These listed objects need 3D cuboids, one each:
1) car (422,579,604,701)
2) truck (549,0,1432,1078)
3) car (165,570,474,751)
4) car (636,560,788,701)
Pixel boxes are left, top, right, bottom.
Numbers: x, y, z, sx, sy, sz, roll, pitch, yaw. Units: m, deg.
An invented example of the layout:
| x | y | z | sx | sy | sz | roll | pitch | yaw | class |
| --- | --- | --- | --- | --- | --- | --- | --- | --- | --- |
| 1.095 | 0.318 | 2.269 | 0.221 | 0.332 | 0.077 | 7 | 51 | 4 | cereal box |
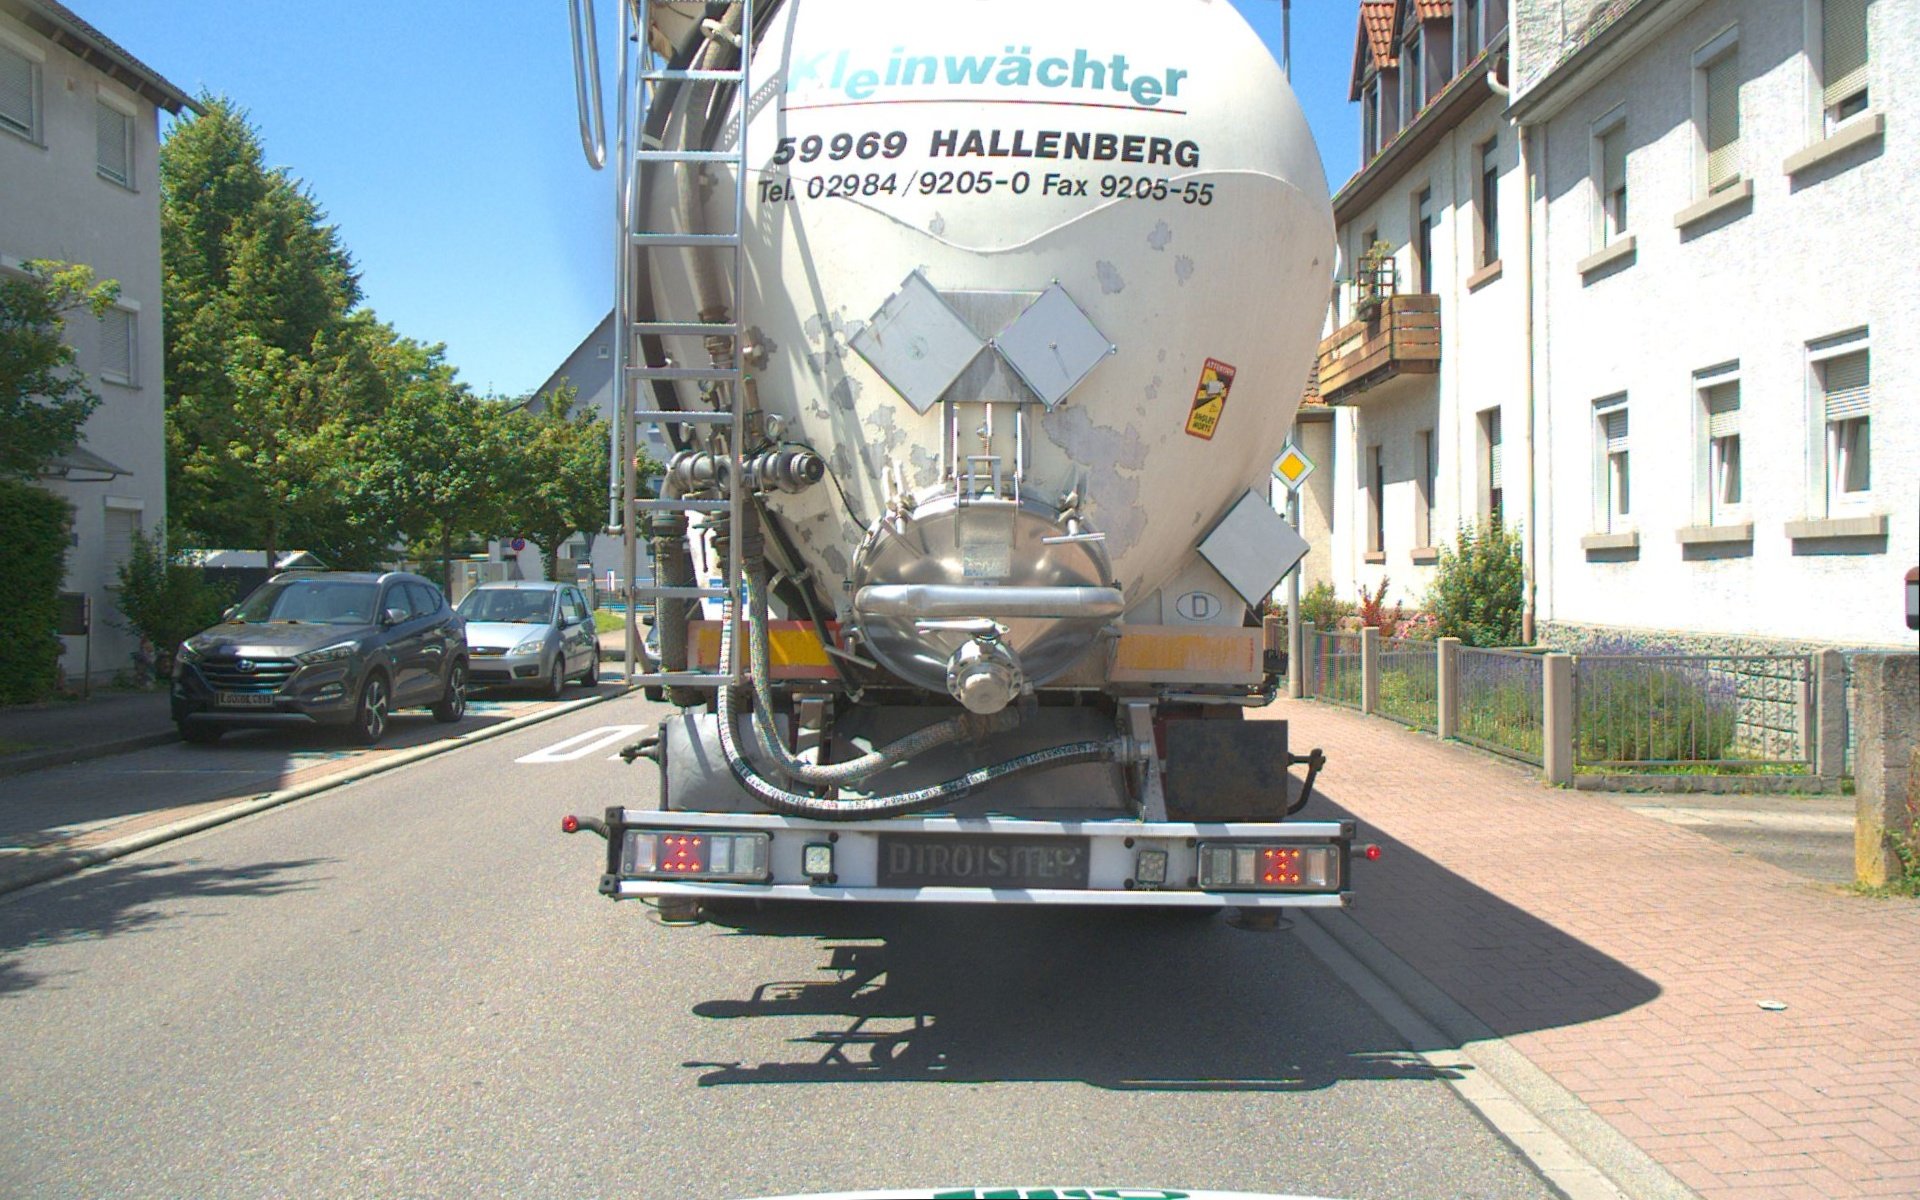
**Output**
| x | y | z | sx | sy | sz | roll | pitch | yaw | class |
| --- | --- | --- | --- | --- | --- | --- | --- | --- | --- |
| -6.338 | 0.508 | 23.841 | 1.663 | 1.608 | 3.837 | 0 | 0 | -2 | car |
| 0.046 | -0.682 | 9.643 | 2.587 | 4.086 | 9.560 | 0 | 0 | -1 | truck |
| -6.455 | 0.537 | 17.149 | 1.657 | 1.648 | 3.997 | 0 | 0 | 0 | car |
| -3.635 | 0.396 | 24.956 | 1.622 | 1.887 | 4.463 | -2 | 1 | -1 | car |
